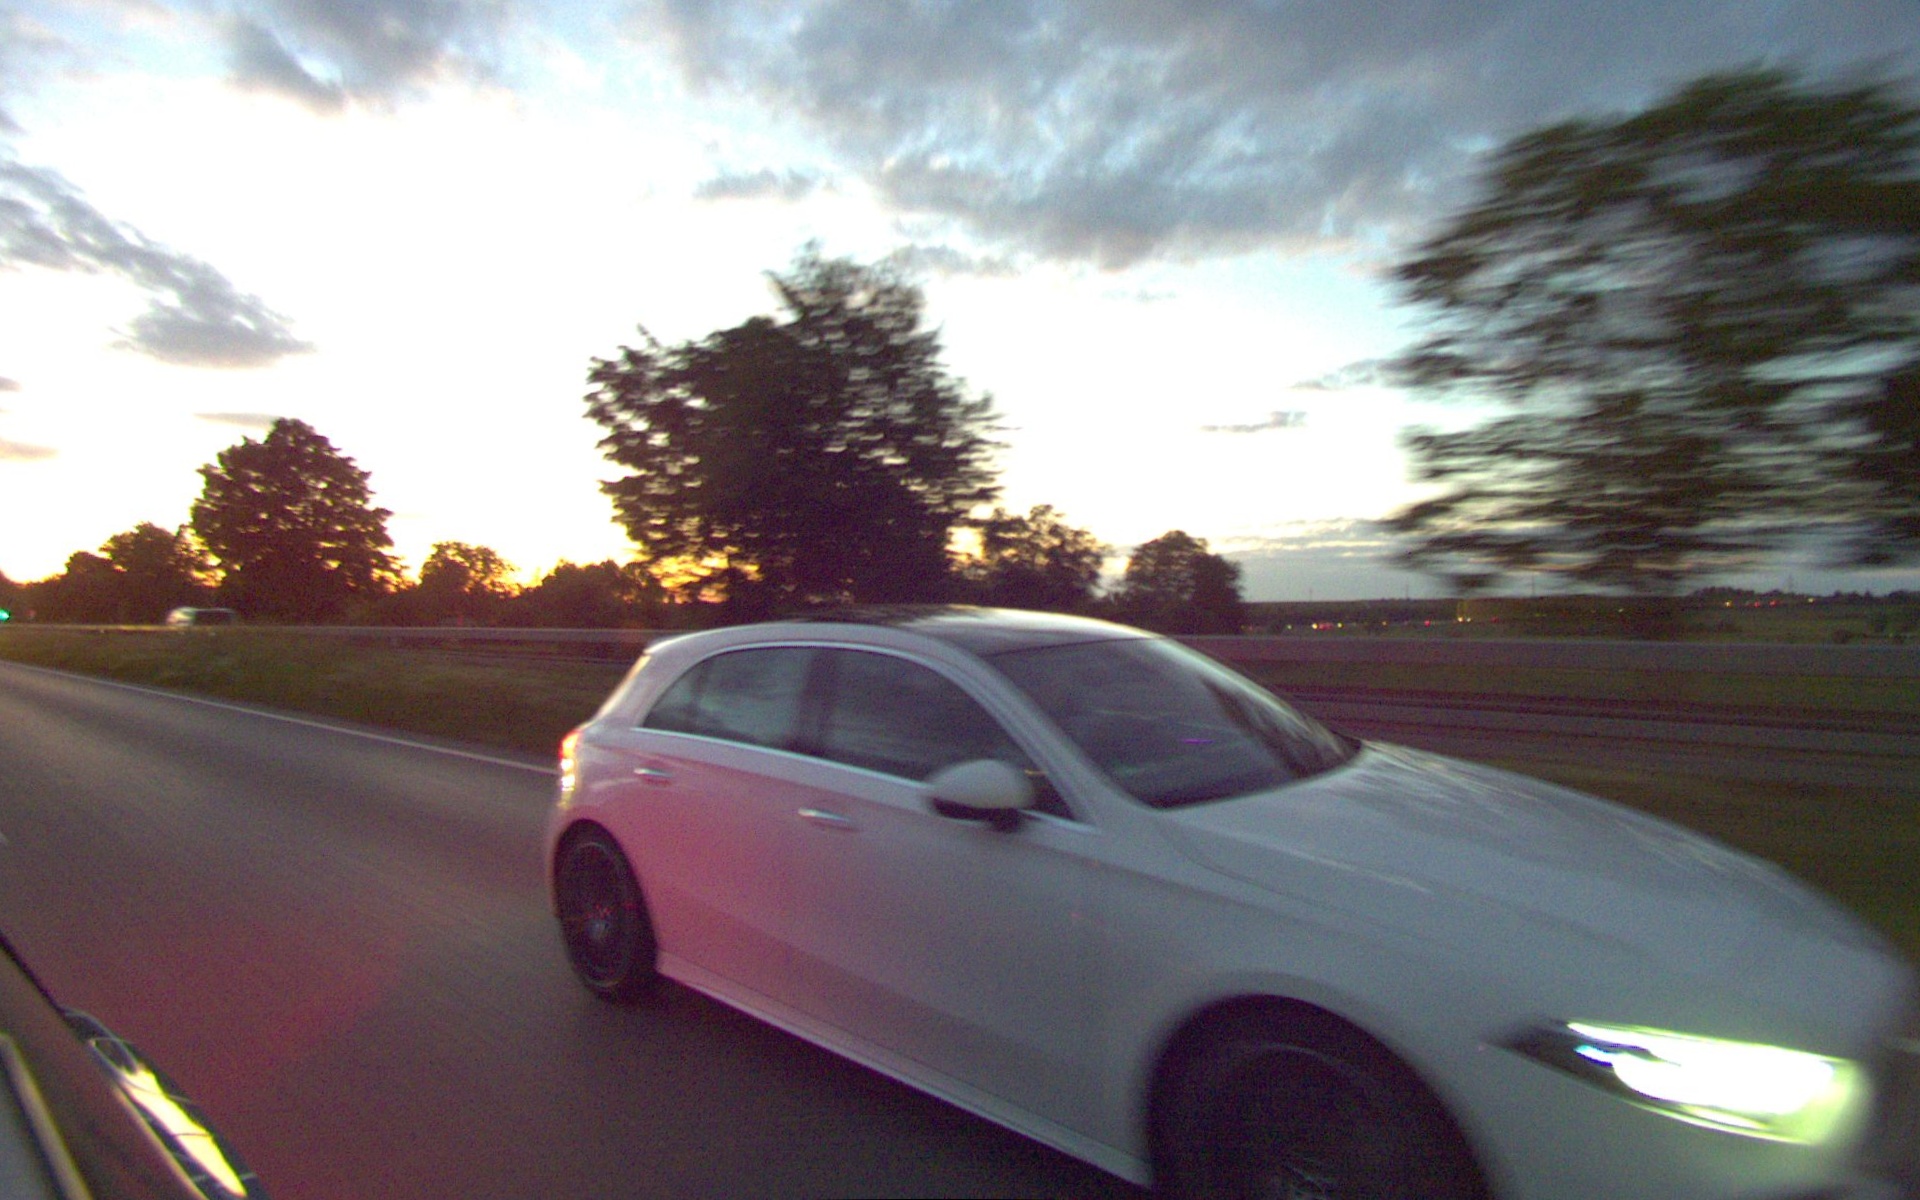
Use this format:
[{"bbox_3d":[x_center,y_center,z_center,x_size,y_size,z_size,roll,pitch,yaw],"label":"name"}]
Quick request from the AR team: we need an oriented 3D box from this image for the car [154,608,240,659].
[{"bbox_3d":[-34.110,1.457,45.166,5.344,2.115,1.945,-1,0,40],"label":"car"}]

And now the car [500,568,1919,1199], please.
[{"bbox_3d":[0.369,0.718,3.233,4.578,1.501,1.625,-1,0,42],"label":"car"}]
